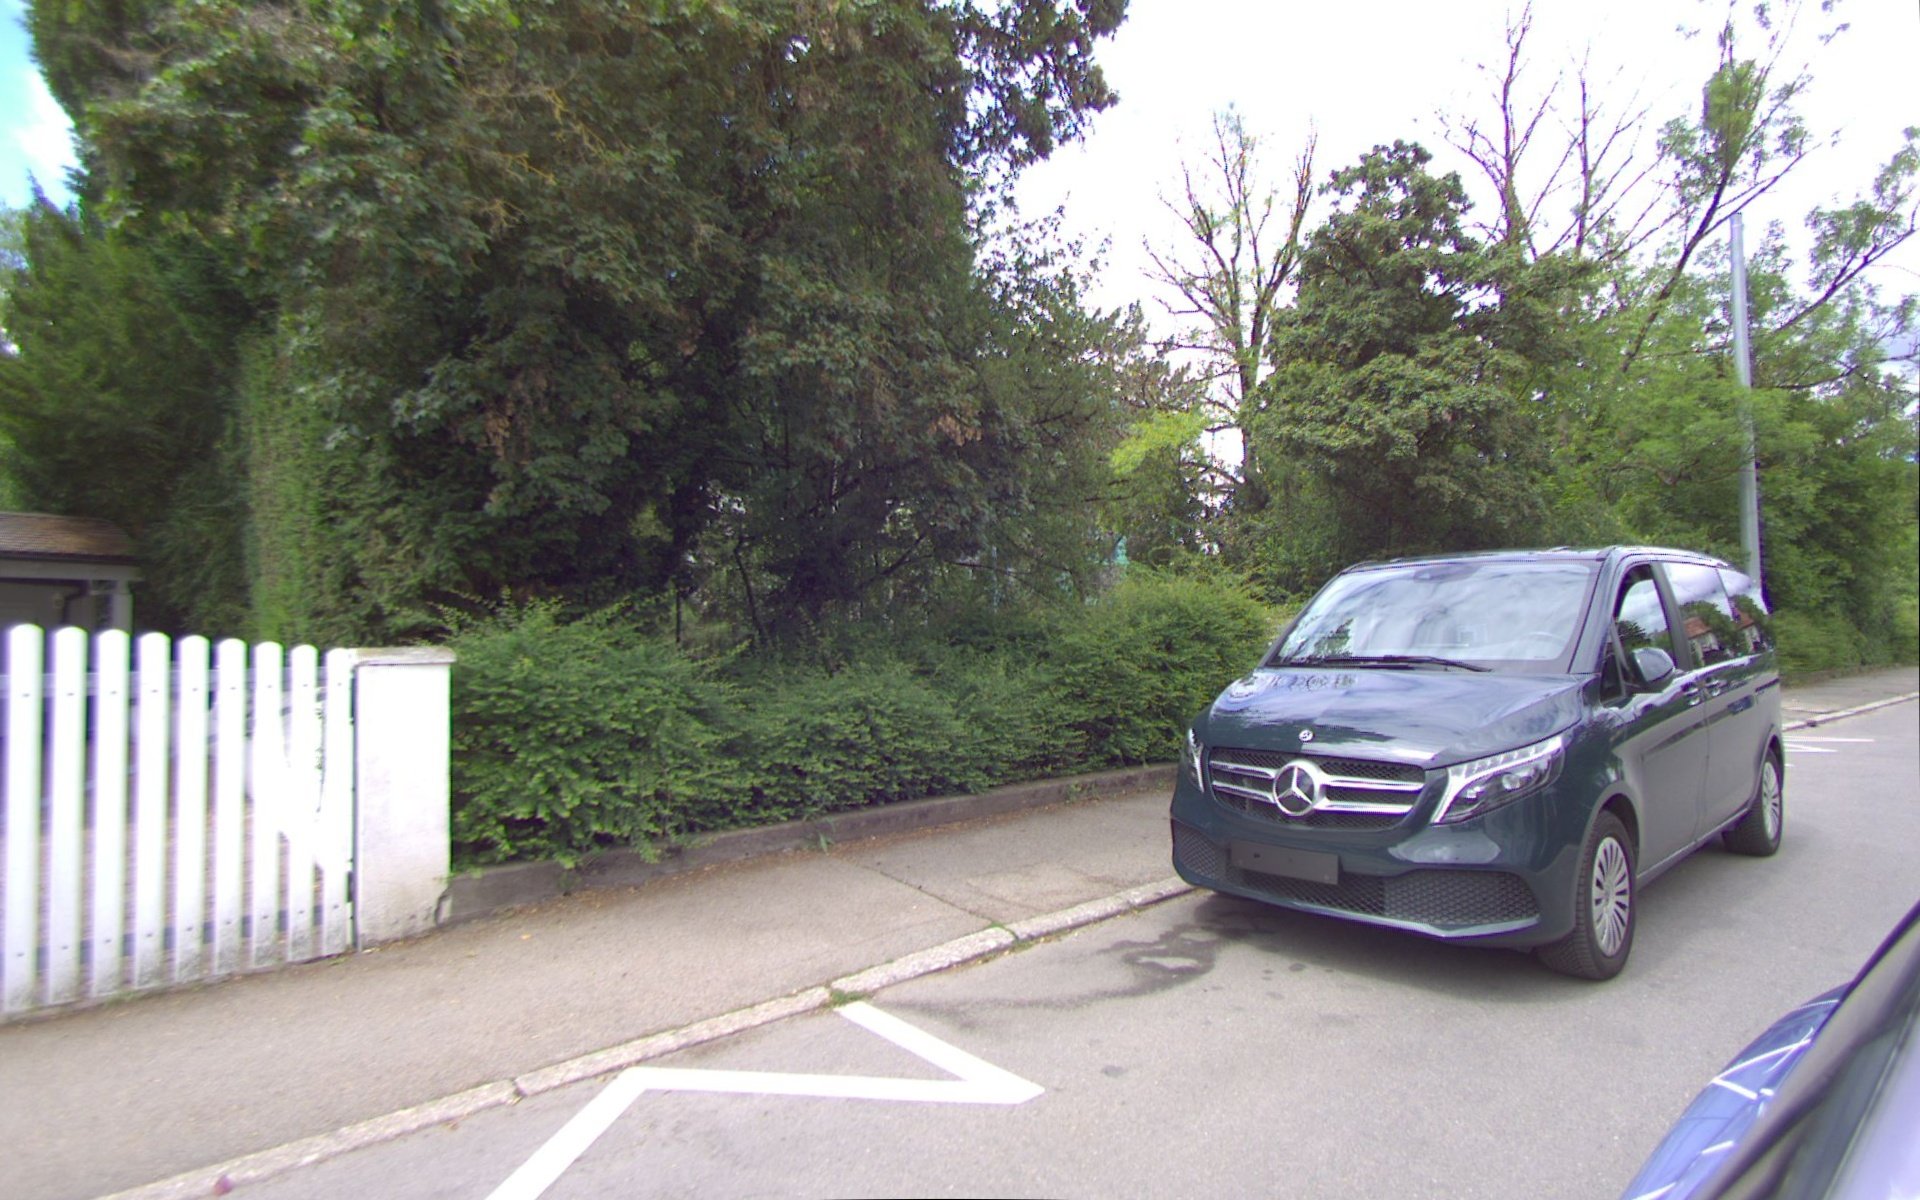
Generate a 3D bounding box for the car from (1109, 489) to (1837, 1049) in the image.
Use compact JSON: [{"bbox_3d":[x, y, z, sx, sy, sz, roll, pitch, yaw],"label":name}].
[{"bbox_3d":[3.265,0.587,5.796,5.067,1.872,1.912,0,-2,-41],"label":"car"}]
